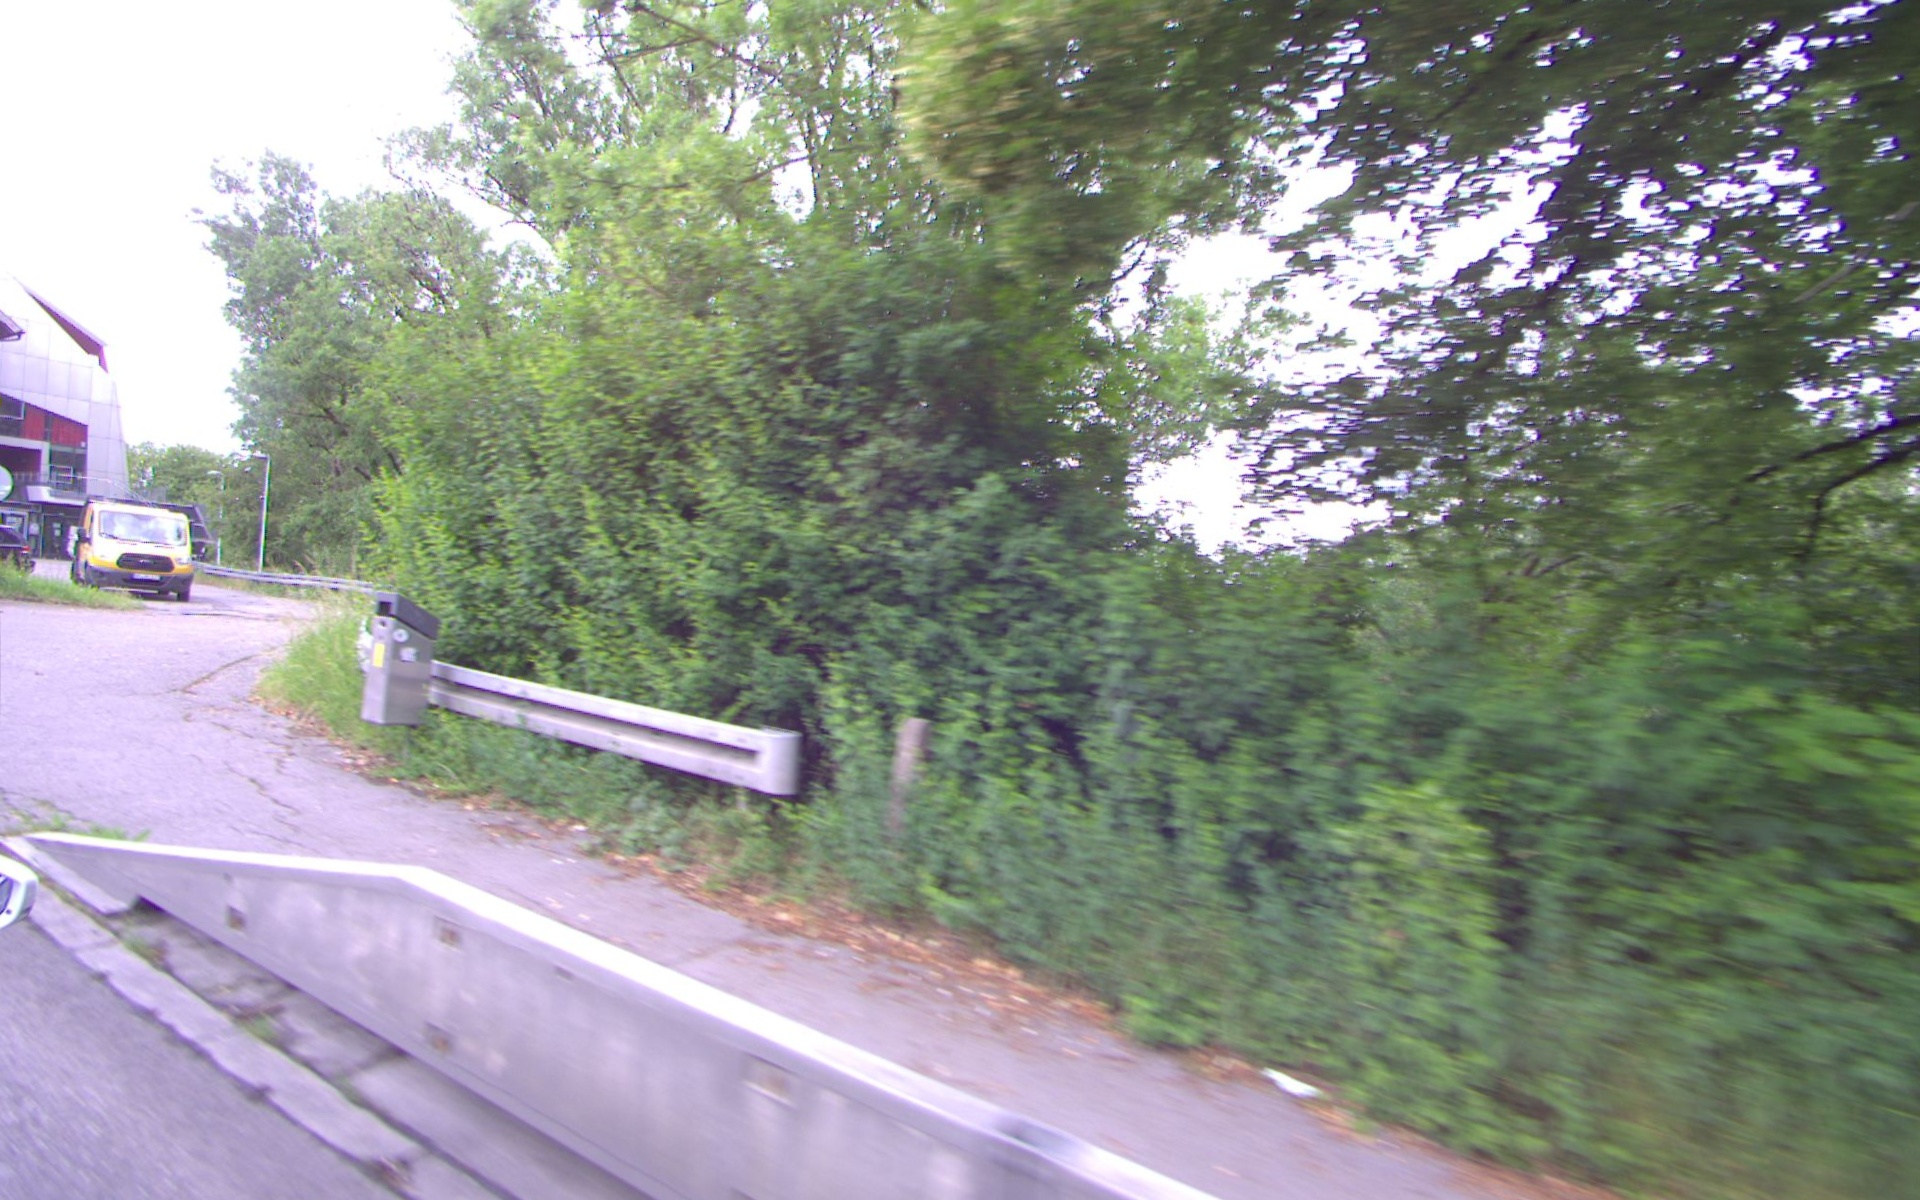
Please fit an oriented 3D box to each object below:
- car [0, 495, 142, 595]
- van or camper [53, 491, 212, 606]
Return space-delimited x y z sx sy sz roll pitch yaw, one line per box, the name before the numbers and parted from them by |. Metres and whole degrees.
car | -17.920 -1.154 18.934 1.552 1.558 3.494 7 -3 33
van or camper | -21.100 -1.375 25.517 6.094 2.360 2.211 7 2 42
